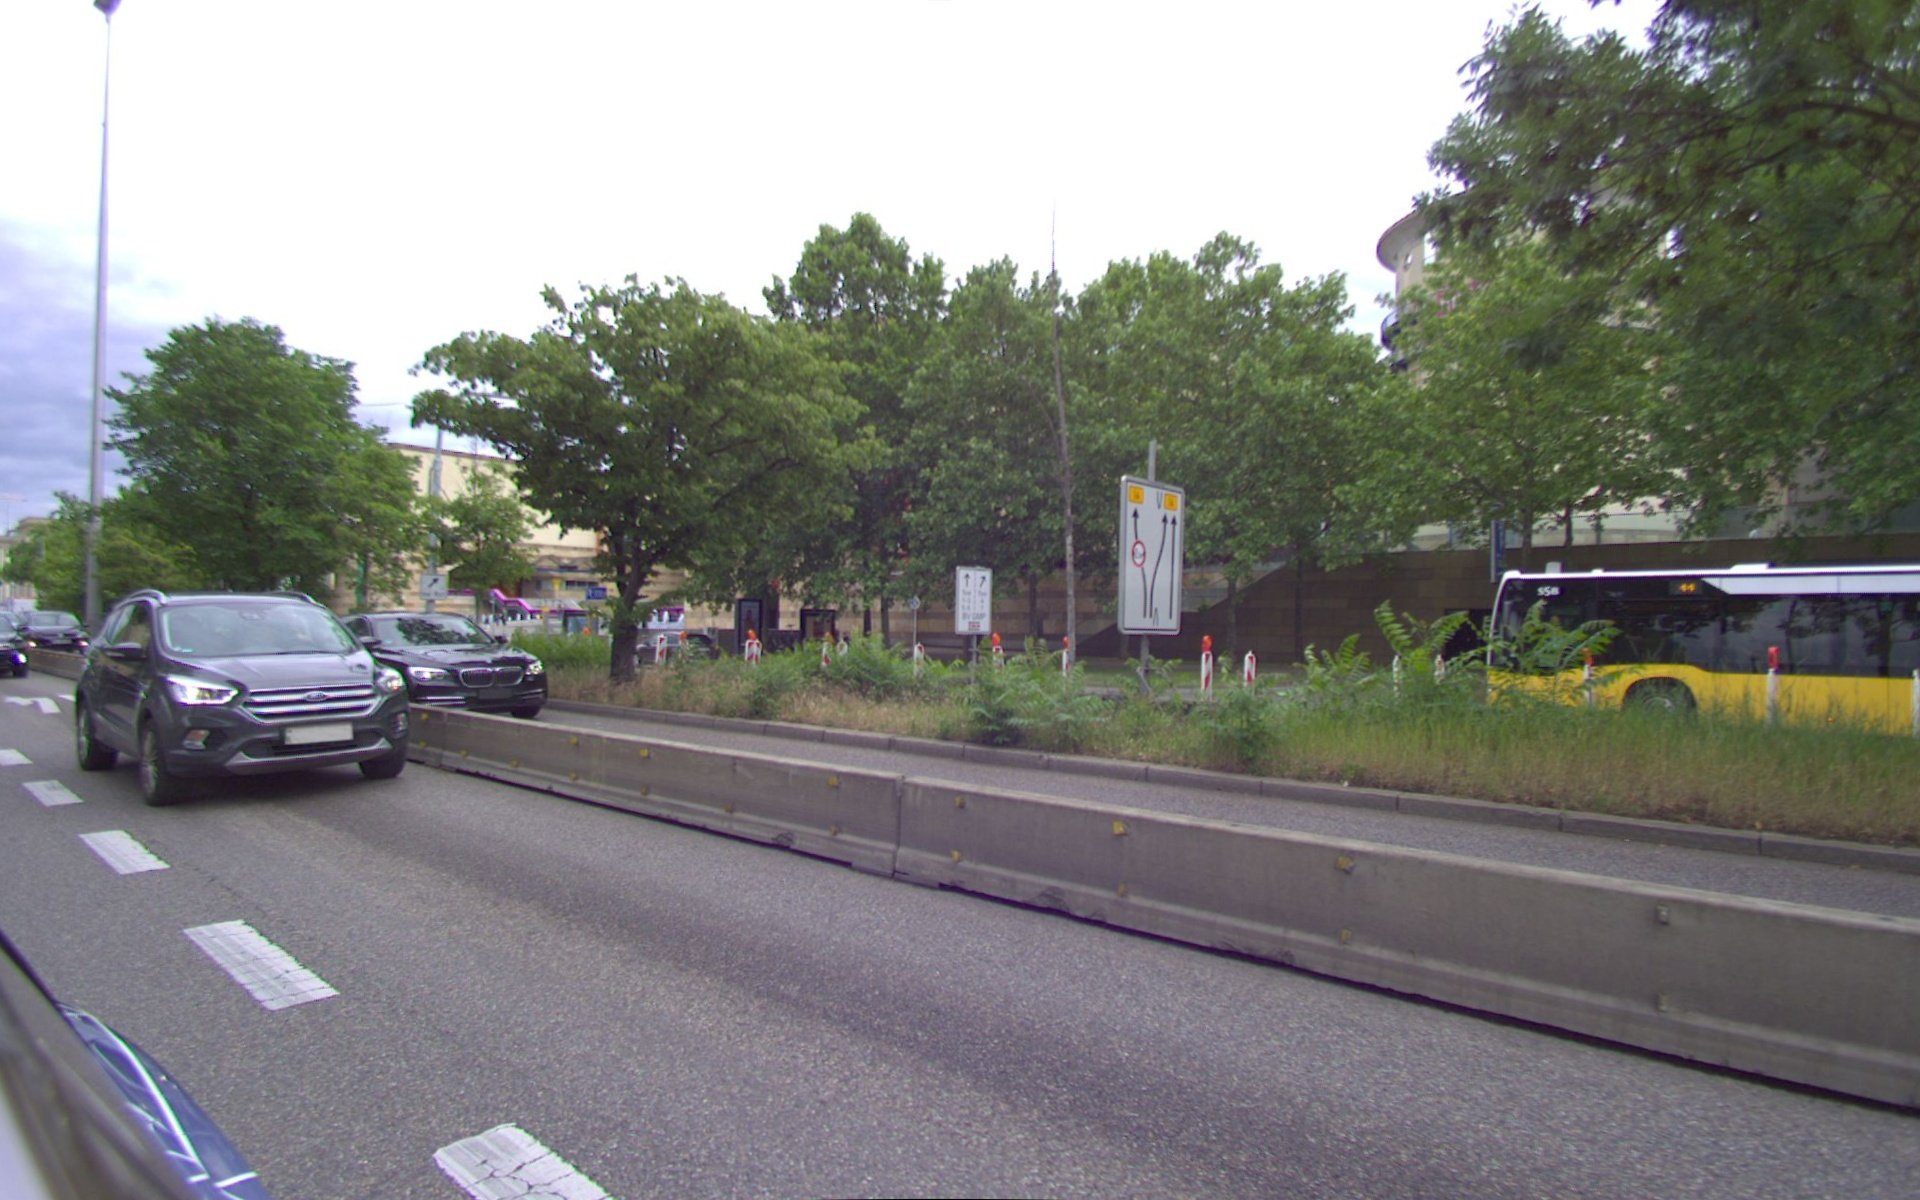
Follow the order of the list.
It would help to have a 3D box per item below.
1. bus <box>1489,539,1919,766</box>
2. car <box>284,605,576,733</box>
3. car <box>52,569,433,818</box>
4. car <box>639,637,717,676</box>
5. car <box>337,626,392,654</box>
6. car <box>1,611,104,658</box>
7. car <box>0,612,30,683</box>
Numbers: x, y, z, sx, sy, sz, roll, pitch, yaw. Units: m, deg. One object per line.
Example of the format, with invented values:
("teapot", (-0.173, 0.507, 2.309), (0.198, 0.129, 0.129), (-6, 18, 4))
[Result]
("bus", (14.622, 0.810, 16.331), (10.442, 3.330, 2.882), (-1, -2, 41))
("car", (-7.535, 0.868, 14.176), (4.806, 1.494, 1.973), (-1, -2, 40))
("car", (-6.751, 0.698, 9.300), (4.656, 1.728, 1.873), (-2, -1, 42))
("car", (-10.696, 2.113, 38.329), (3.054, 1.298, 1.338), (0, 1, 40))
("car", (-31.317, 2.072, 53.179), (3.735, 1.298, 1.338), (0, 1, 40))
("car", (-31.151, 1.160, 34.703), (4.806, 1.494, 1.973), (-1, -2, 40))
("car", (-22.903, 1.055, 23.335), (4.151, 1.527, 1.744), (0, 0, 42))
